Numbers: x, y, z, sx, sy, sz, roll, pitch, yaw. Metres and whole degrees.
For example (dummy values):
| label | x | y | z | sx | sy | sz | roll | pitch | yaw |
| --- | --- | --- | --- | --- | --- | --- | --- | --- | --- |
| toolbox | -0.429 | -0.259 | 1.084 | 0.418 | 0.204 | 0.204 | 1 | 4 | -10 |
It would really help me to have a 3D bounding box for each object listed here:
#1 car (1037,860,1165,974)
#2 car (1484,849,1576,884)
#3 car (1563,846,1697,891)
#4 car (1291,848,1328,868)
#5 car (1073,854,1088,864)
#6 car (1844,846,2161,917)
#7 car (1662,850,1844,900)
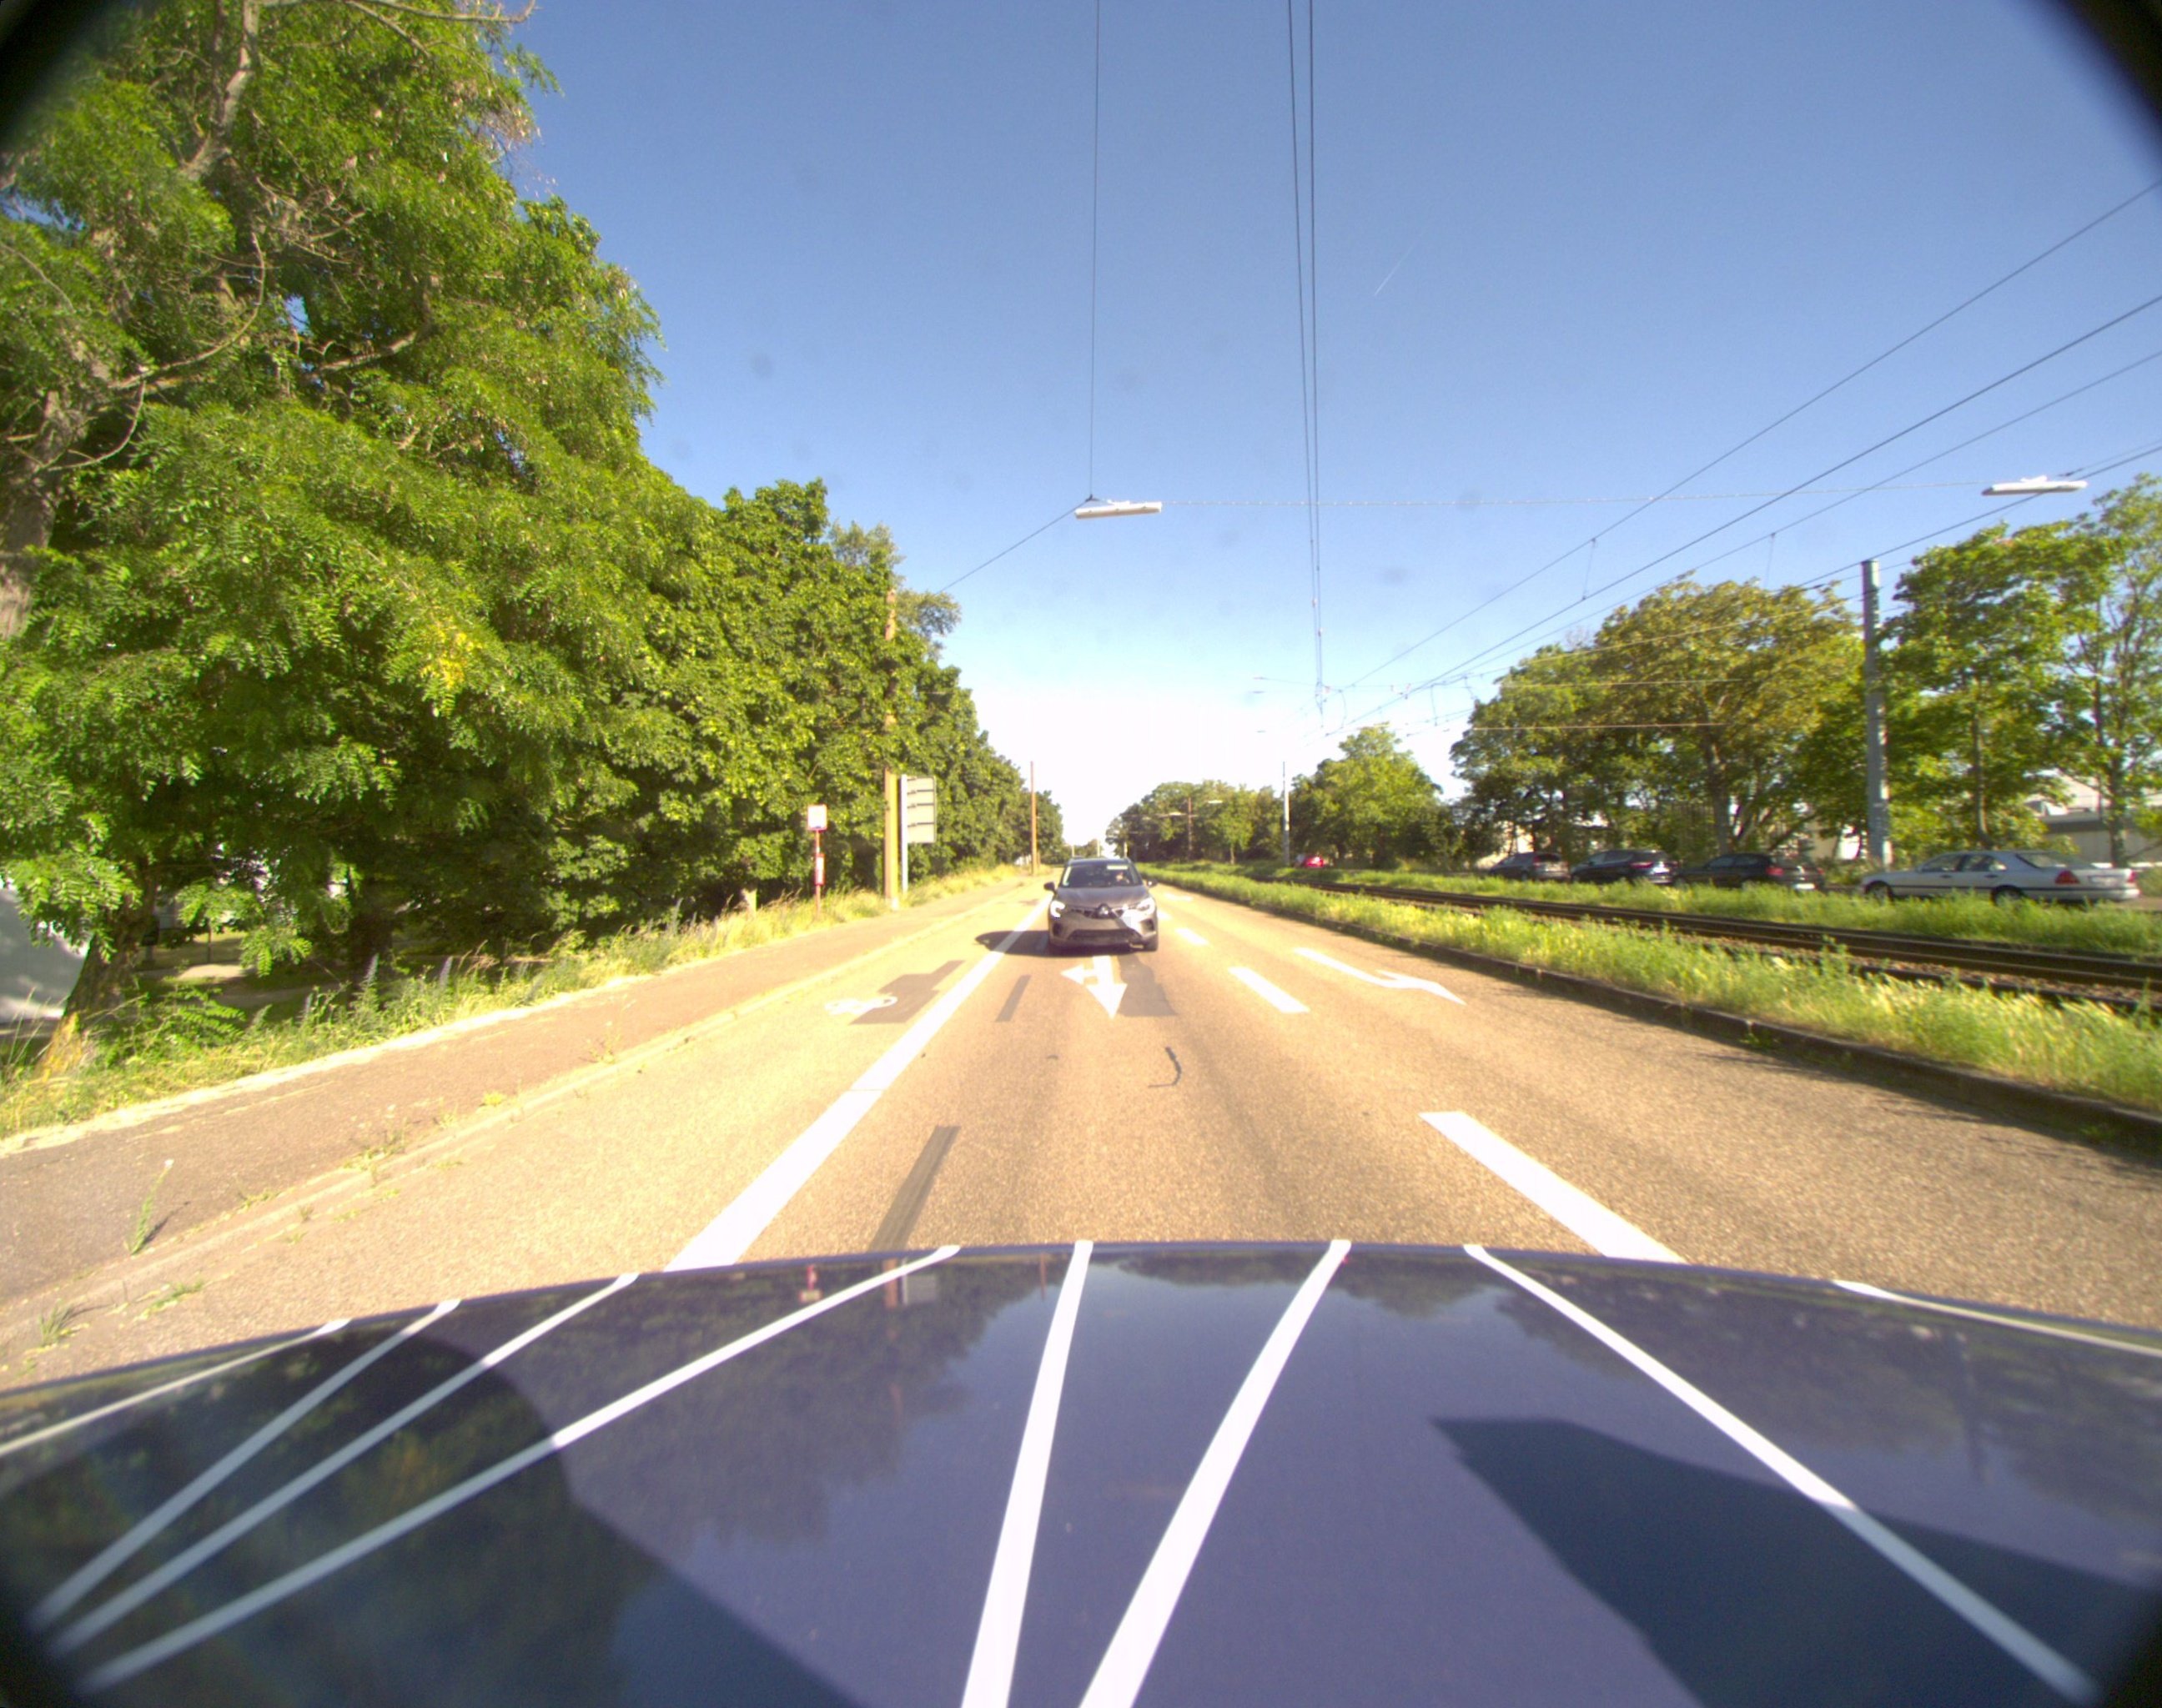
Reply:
| label | x | y | z | sx | sy | sz | roll | pitch | yaw |
| --- | --- | --- | --- | --- | --- | --- | --- | --- | --- |
| car | 0.308 | 0.937 | 13.368 | 1.822 | 1.589 | 4.413 | -2 | 0 | 0 |
| car | 21.505 | 0.552 | 36.593 | 1.740 | 1.485 | 4.327 | -3 | 0 | -1 |
| car | 21.391 | 0.545 | 29.885 | 1.999 | 1.565 | 4.435 | -1 | 0 | -1 |
| car | 21.054 | 0.382 | 70.273 | 2.009 | 1.692 | 4.466 | -1 | 0 | -1 |
| car | -0.067 | 0.851 | 125.782 | 2.000 | 1.577 | 3.997 | -2 | 0 | -7 |
| car | 21.484 | 0.594 | 18.098 | 1.933 | 1.429 | 4.695 | -1 | 0 | 1 |
| car | 21.420 | 0.626 | 24.524 | 1.998 | 1.429 | 4.415 | -1 | 0 | 1 |
